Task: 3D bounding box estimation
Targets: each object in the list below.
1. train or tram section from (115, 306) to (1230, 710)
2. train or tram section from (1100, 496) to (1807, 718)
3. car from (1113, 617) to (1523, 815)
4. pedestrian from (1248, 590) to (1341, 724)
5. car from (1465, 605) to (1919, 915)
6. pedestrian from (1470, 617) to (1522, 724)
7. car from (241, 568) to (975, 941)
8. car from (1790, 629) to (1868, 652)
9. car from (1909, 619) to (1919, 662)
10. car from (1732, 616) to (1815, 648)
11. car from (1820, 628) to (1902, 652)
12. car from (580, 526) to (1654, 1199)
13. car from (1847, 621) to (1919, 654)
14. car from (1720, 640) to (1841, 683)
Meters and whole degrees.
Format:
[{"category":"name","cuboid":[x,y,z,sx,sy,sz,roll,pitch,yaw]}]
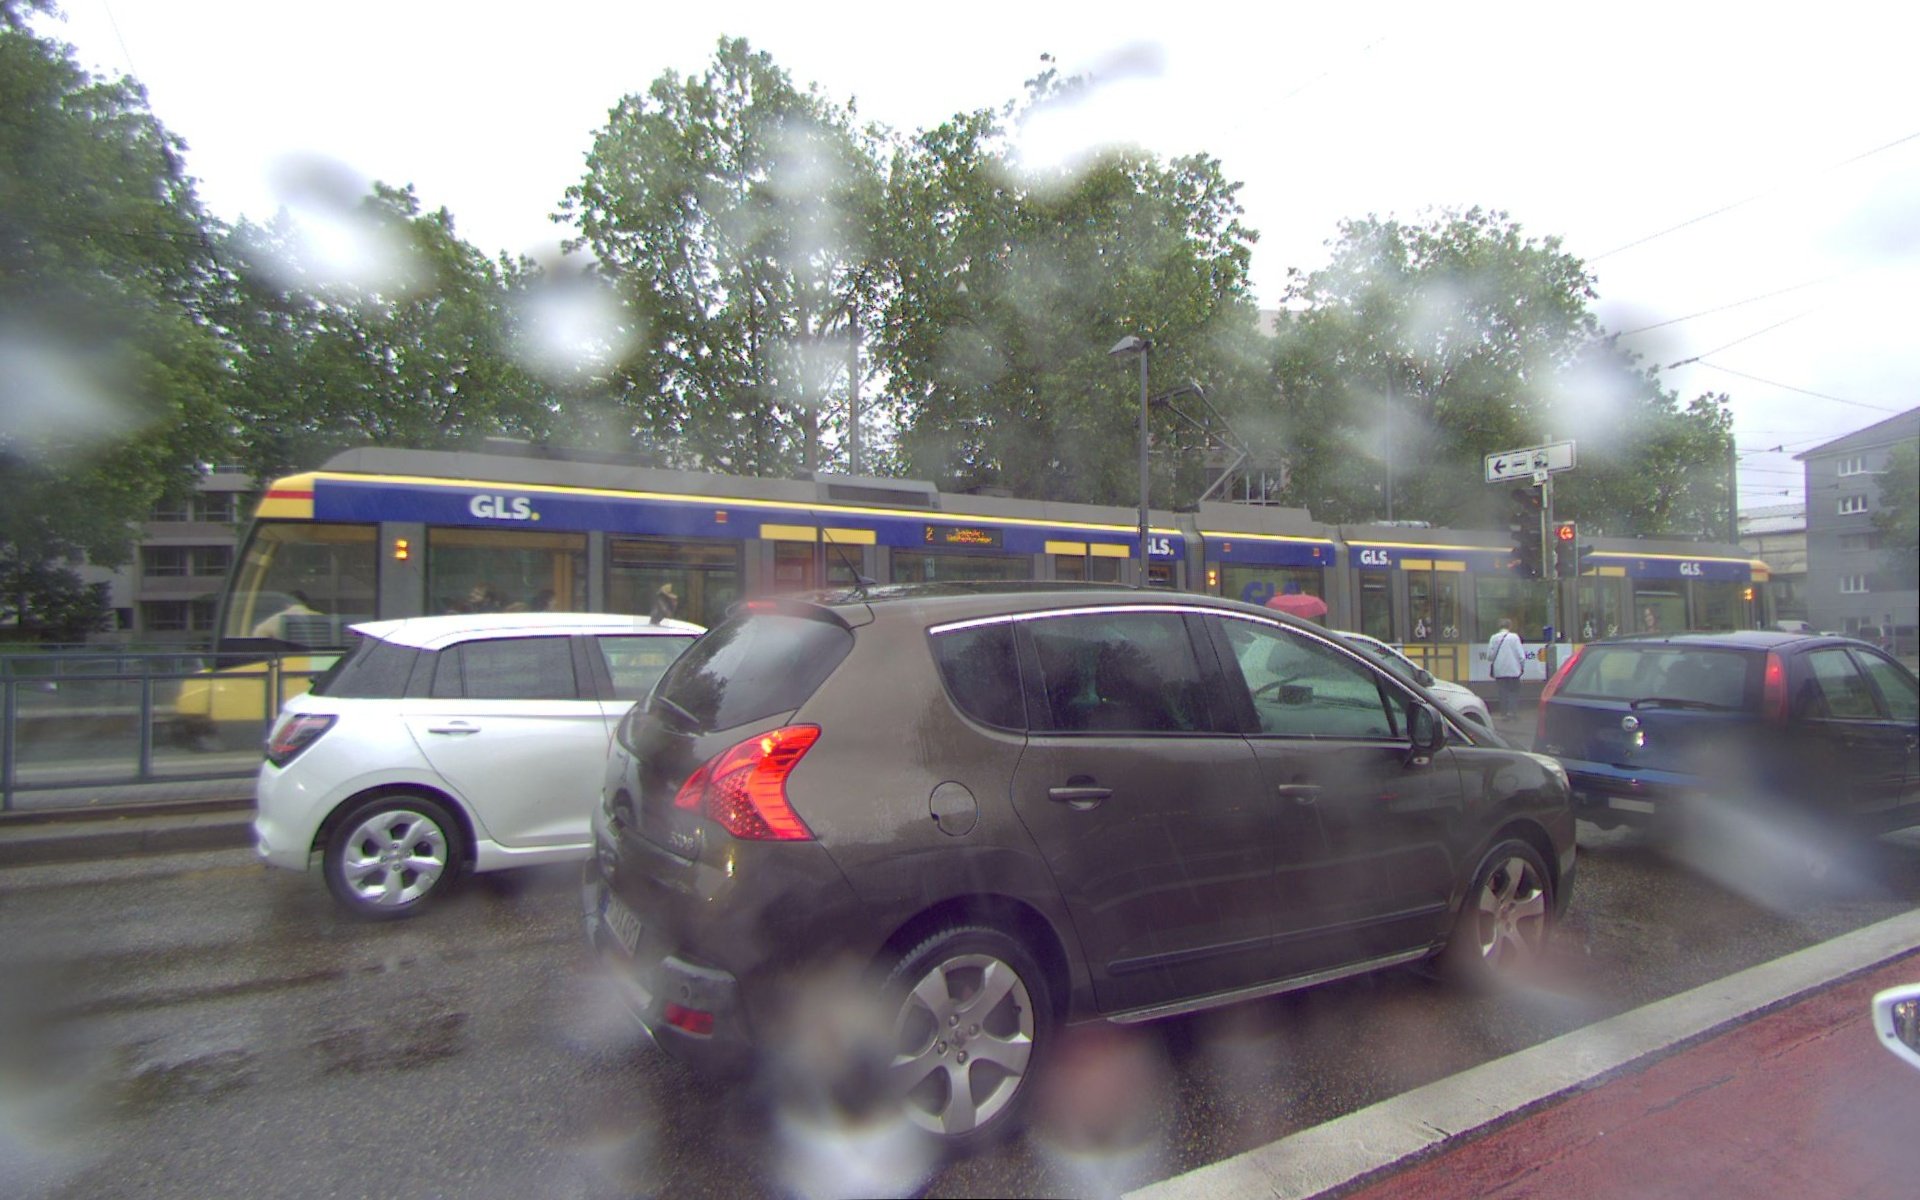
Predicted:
[{"category":"train or tram section","cuboid":[-2.477,-0.680,13.821,13.500,3.559,3.496,1,0,-31]},{"category":"train or tram section","cuboid":[10.374,0.274,20.209,15.281,3.458,3.533,2,0,-23]},{"category":"car","cuboid":[3.417,0.954,9.444,3.737,1.514,1.621,1,-1,-30]},{"category":"pedestrian","cuboid":[4.614,0.777,13.872,0.888,1.769,0.762,0,-3,-30]},{"category":"car","cuboid":[5.432,0.877,6.923,3.776,1.599,1.719,1,-1,-30]},{"category":"pedestrian","cuboid":[8.525,1.099,15.973,0.617,1.628,0.739,1,0,35]},{"category":"car","cuboid":[-1.943,0.741,6.140,3.791,1.650,1.637,1,-2,-30]},{"category":"car","cuboid":[61.325,2.848,70.907,3.922,1.516,1.960,0,0,-3]},{"category":"car","cuboid":[47.576,1.980,47.868,3.942,2.040,1.990,1,0,-22]},{"category":"car","cuboid":[59.648,2.330,73.680,4.698,2.228,1.998,0,1,-6]},{"category":"car","cuboid":[61.361,2.688,68.452,3.922,1.550,1.999,0,0,-3]},{"category":"car","cuboid":[0.780,0.725,4.113,4.124,1.690,1.825,1,-1,-30]},{"category":"car","cuboid":[60.865,2.436,65.752,3.923,2.040,1.999,1,0,-3]},{"category":"car","cuboid":[34.413,2.549,42.183,3.931,1.629,1.952,0,0,-13]}]
